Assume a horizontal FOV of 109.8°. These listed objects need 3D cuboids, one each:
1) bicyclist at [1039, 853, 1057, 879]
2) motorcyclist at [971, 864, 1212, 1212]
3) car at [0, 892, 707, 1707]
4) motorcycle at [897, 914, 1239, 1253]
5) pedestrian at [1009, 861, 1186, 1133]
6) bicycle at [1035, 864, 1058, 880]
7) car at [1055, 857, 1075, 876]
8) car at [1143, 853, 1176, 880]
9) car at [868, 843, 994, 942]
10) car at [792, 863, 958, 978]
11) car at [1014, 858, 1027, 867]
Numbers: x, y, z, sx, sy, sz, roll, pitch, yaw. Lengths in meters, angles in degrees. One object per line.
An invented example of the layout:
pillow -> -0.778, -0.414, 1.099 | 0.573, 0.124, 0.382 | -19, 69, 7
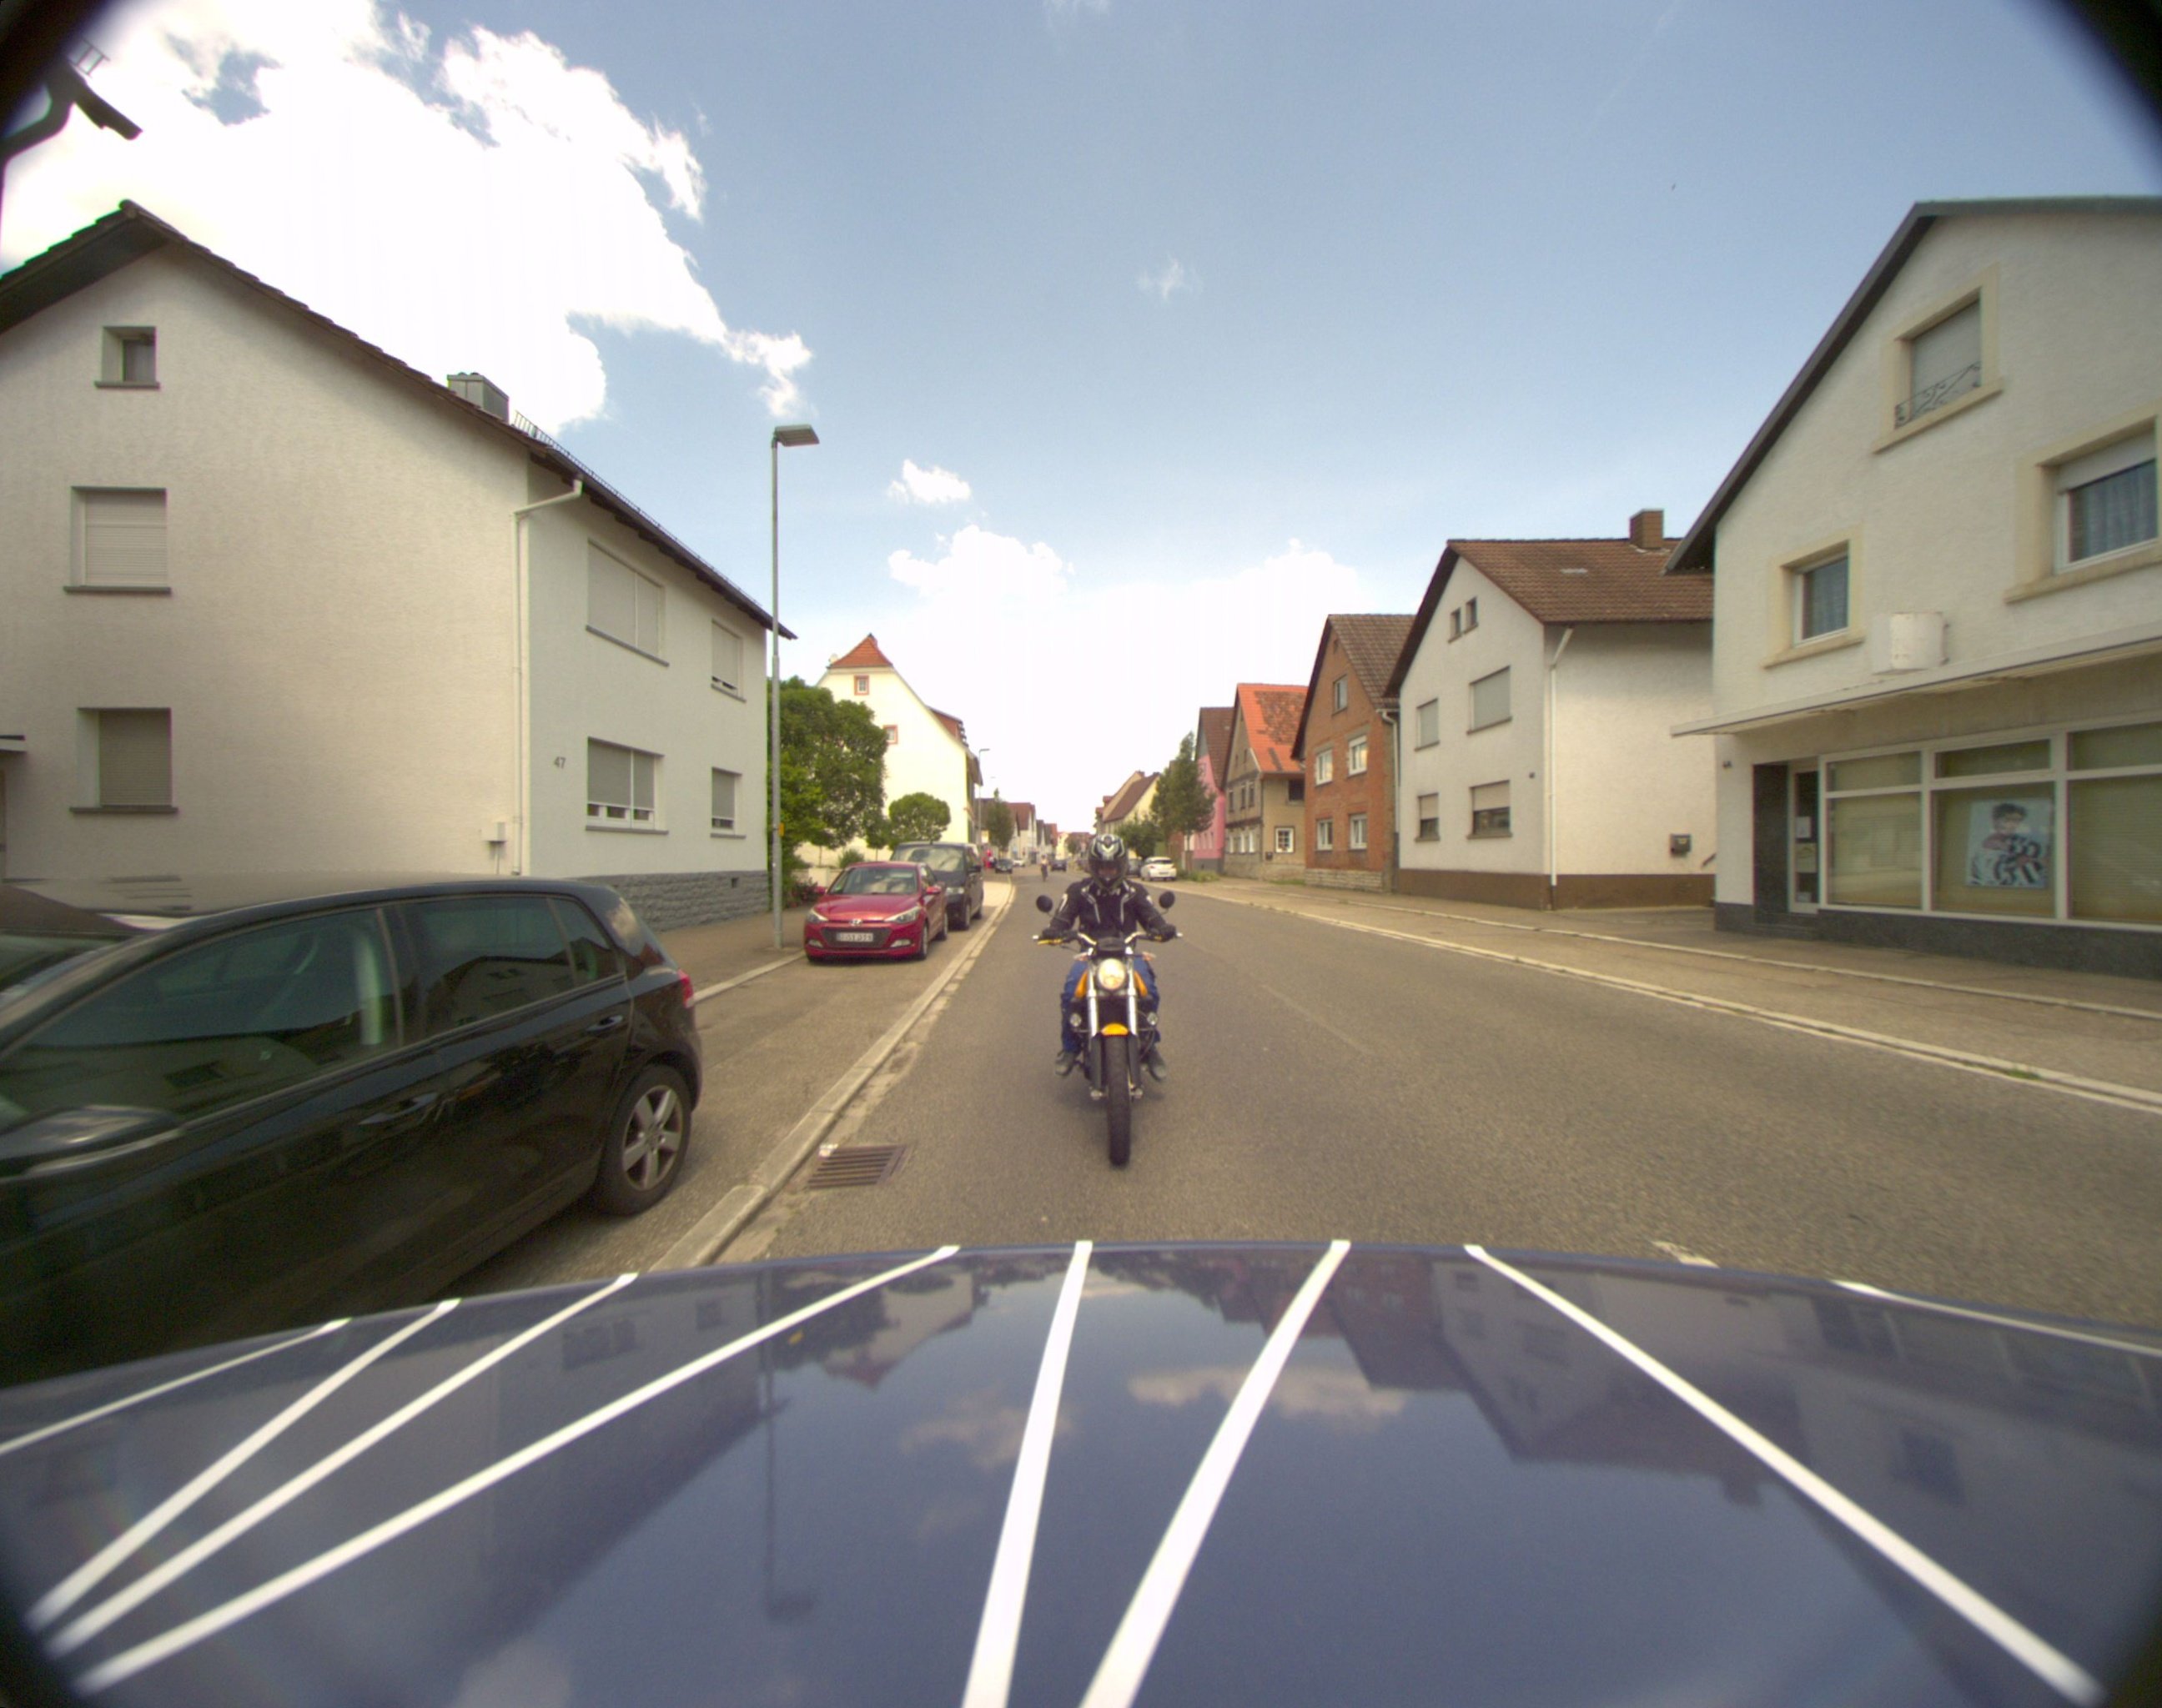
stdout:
bicyclist -> -2.193, 0.800, 50.006 | 0.908, 1.679, 0.762 | -1, 2, 17
motorcyclist -> 0.080, 0.870, 4.098 | 0.998, 1.591, 0.801 | -1, 2, 28
car -> -2.817, 0.915, 1.746 | 1.772, 1.520, 4.002 | 2, -2, 2
motorcycle -> 0.084, 1.036, 4.277 | 0.983, 1.233, 2.107 | -3, -1, 28
pedestrian -> 0.144, 0.854, 4.877 | 0.999, 1.565, 0.800 | -2, 2, 7
bicycle -> -2.234, 1.164, 50.066 | 0.932, 1.005, 1.927 | -1, -1, 16
car -> -1.794, 1.405, 85.549 | 1.998, 2.002, 3.999 | -2, 1, 0
car -> 4.843, 0.750, 47.296 | 1.683, 1.521, 3.498 | -2, 1, 1
car -> -3.292, 0.727, 17.838 | 1.930, 1.904, 5.244 | -2, 1, -1
car -> -3.190, 0.939, 12.707 | 1.744, 1.495, 4.557 | -1, 0, -3
car -> -10.296, 1.393, 129.796 | 1.999, 1.345, 3.999 | -2, 1, -1
